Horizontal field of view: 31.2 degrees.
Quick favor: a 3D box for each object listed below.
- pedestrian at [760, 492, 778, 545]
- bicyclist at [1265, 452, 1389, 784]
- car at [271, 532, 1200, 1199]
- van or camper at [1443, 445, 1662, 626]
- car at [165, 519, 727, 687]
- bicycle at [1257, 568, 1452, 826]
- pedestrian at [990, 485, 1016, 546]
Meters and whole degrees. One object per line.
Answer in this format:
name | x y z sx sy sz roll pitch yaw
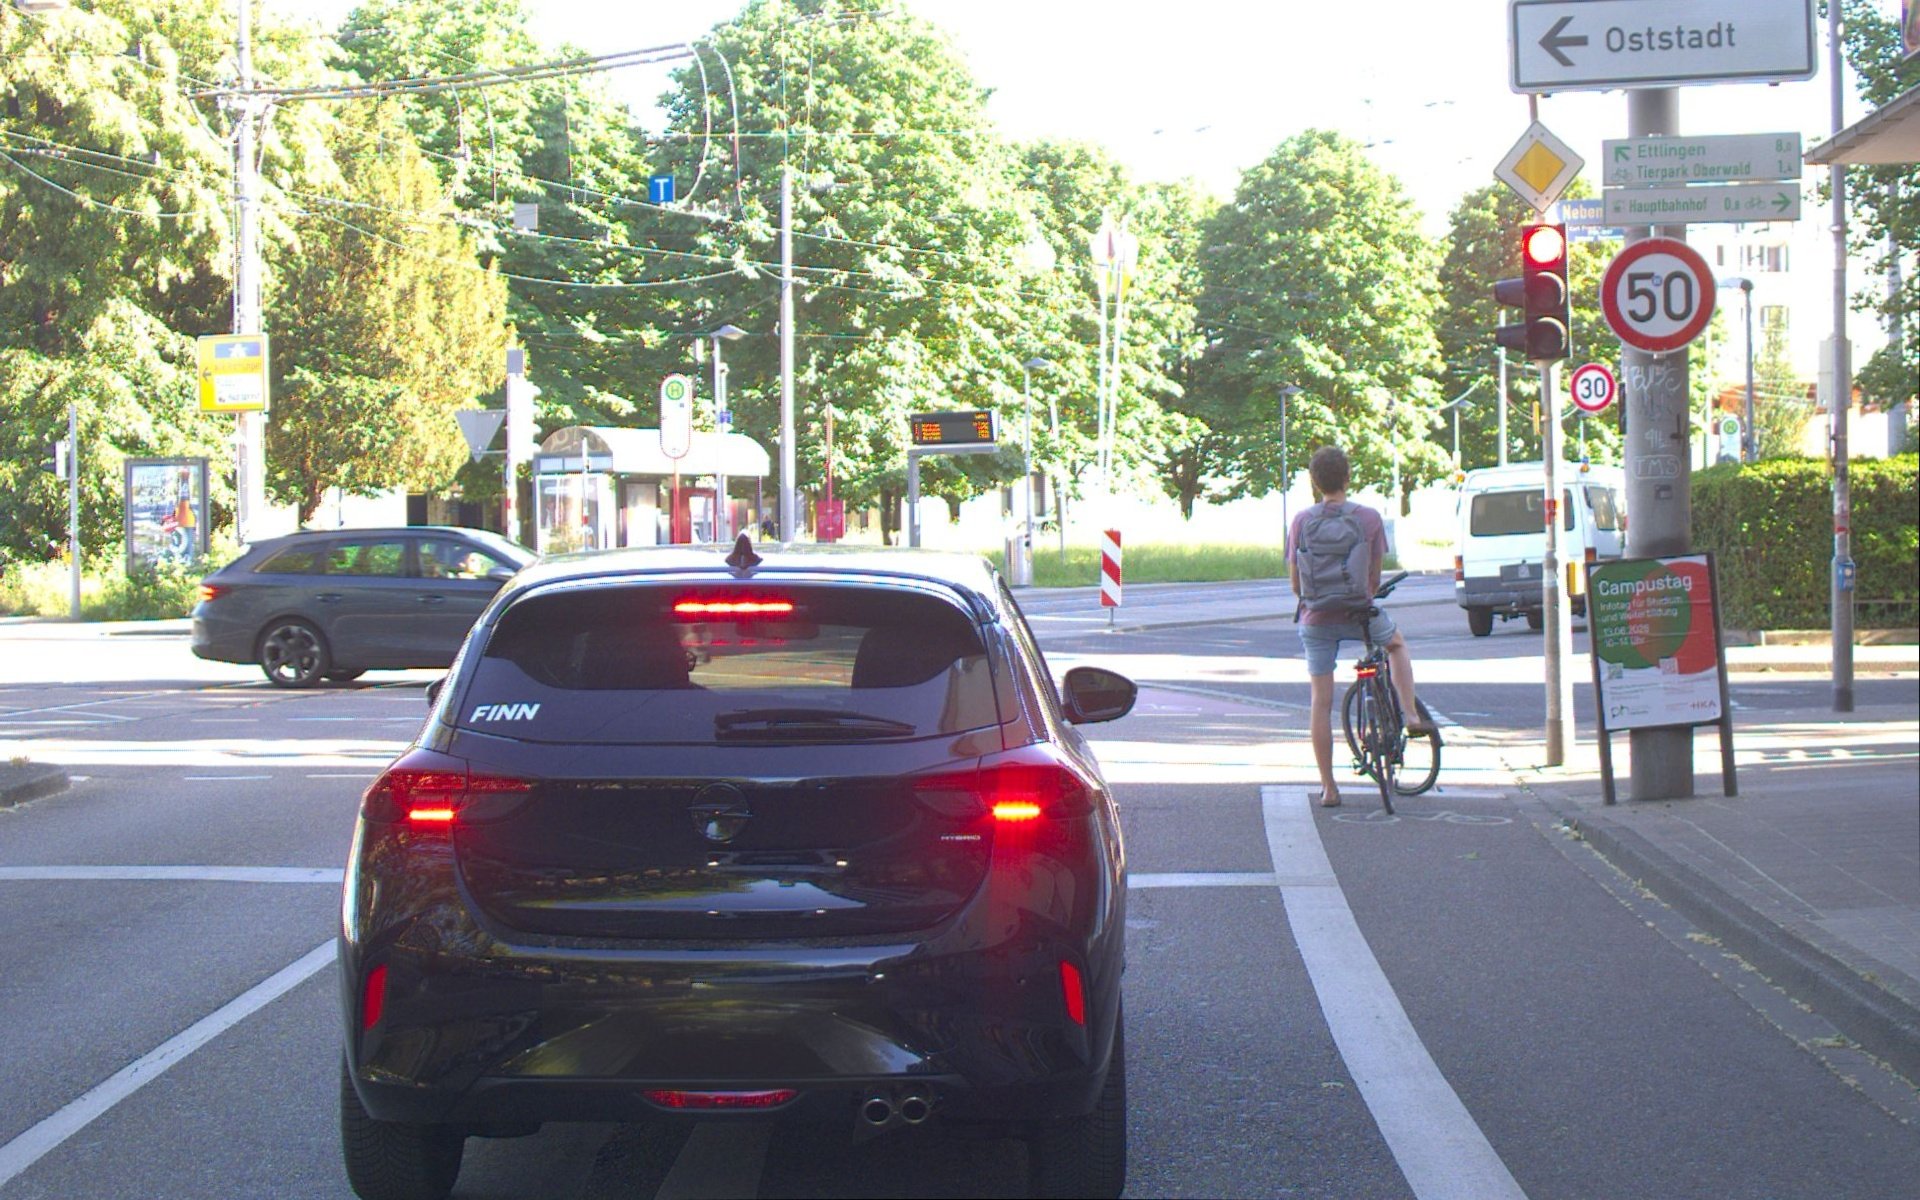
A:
pedestrian | -6.731 -2.877 121.073 0.603 1.865 0.519 1 0 -6
bicyclist | 1.902 0.086 17.800 0.534 1.686 0.567 0 1 17
car | -0.469 0.566 8.825 1.840 1.457 3.984 0 1 -1
van or camper | 8.026 -0.844 46.275 2.031 2.302 4.535 1 1 21
car | -4.605 0.000 31.245 4.727 1.468 1.939 0 1 5
bicycle | 2.088 0.469 17.972 0.753 1.231 2.014 0 1 14
pedestrian | 1.317 -2.613 106.178 0.603 1.865 0.519 1 0 -28
